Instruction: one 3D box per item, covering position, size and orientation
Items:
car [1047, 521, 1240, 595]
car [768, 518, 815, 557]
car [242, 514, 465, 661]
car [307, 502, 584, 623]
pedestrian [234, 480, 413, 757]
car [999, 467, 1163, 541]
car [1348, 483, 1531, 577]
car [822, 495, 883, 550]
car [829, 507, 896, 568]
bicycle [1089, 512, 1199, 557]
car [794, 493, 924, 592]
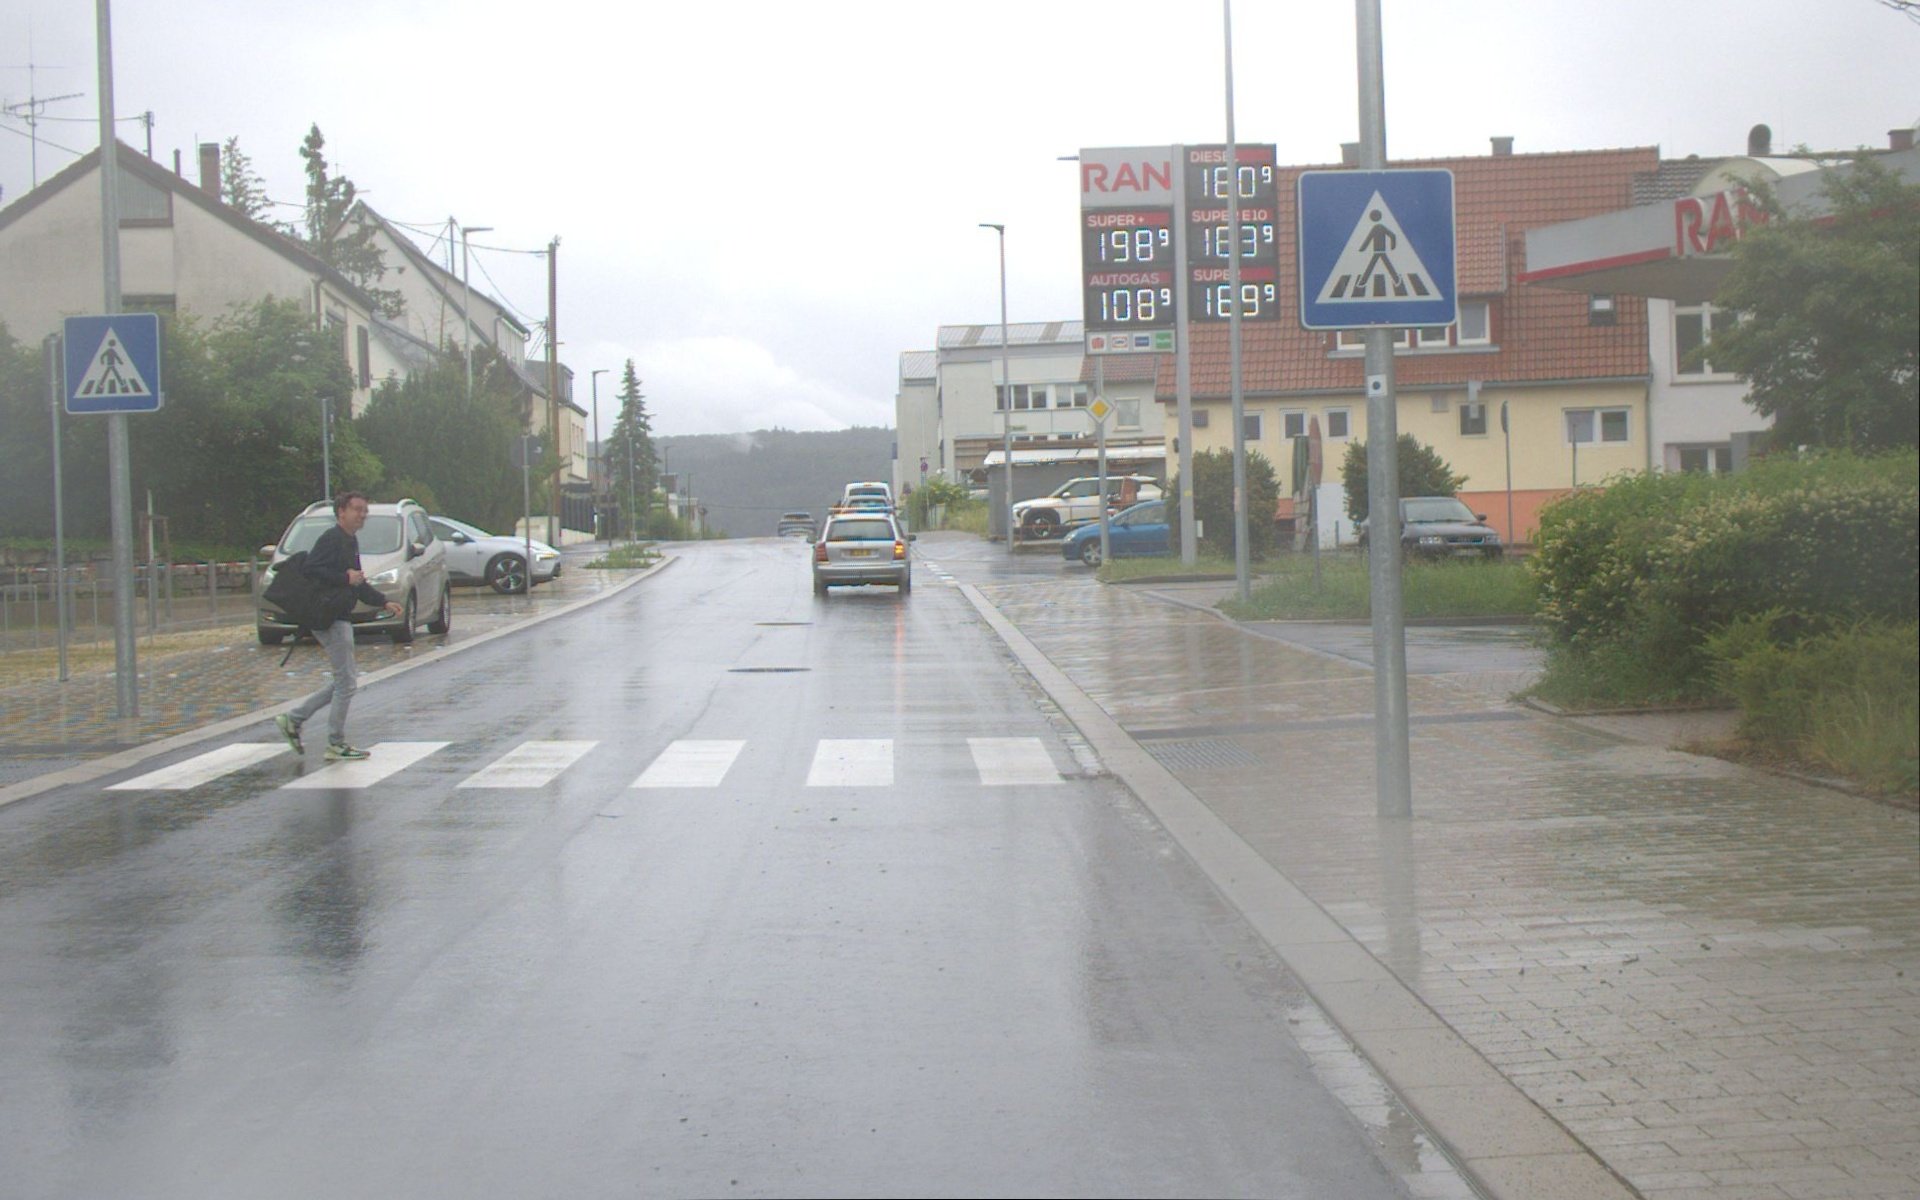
[{"bbox_3d":[4.165,-0.956,77.754,3.990,1.488,1.856,2,-1,17],"label":"car"},{"bbox_3d":[-8.236,-3.039,168.196,2.154,1.700,4.000,2,-1,-1],"label":"car"},{"bbox_3d":[-7.224,-0.194,41.339,1.993,1.623,4.154,-2,2,-1],"label":"car"},{"bbox_3d":[-9.506,-0.683,63.785,4.753,2.007,2.000,2,-1,0],"label":"car"},{"bbox_3d":[-4.041,0.107,21.885,1.013,1.718,0.772,-1,1,-4],"label":"pedestrian"},{"bbox_3d":[3.188,-2.531,90.936,4.112,1.700,1.789,2,-1,-4],"label":"car"},{"bbox_3d":[8.761,-1.258,63.136,1.993,1.547,4.001,2,-1,-13],"label":"car"},{"bbox_3d":[-3.727,-2.672,119.601,1.993,1.700,4.000,2,-1,-1],"label":"car"},{"bbox_3d":[-3.015,-1.920,106.723,1.993,1.700,4.000,2,-1,-1],"label":"car"},{"bbox_3d":[4.495,-1.604,84.411,0.668,1.063,3.629,3,-1,-32],"label":"bicycle"},{"bbox_3d":[-1.737,-0.982,60.378,1.948,1.550,3.999,2,-1,2],"label":"car"}]
